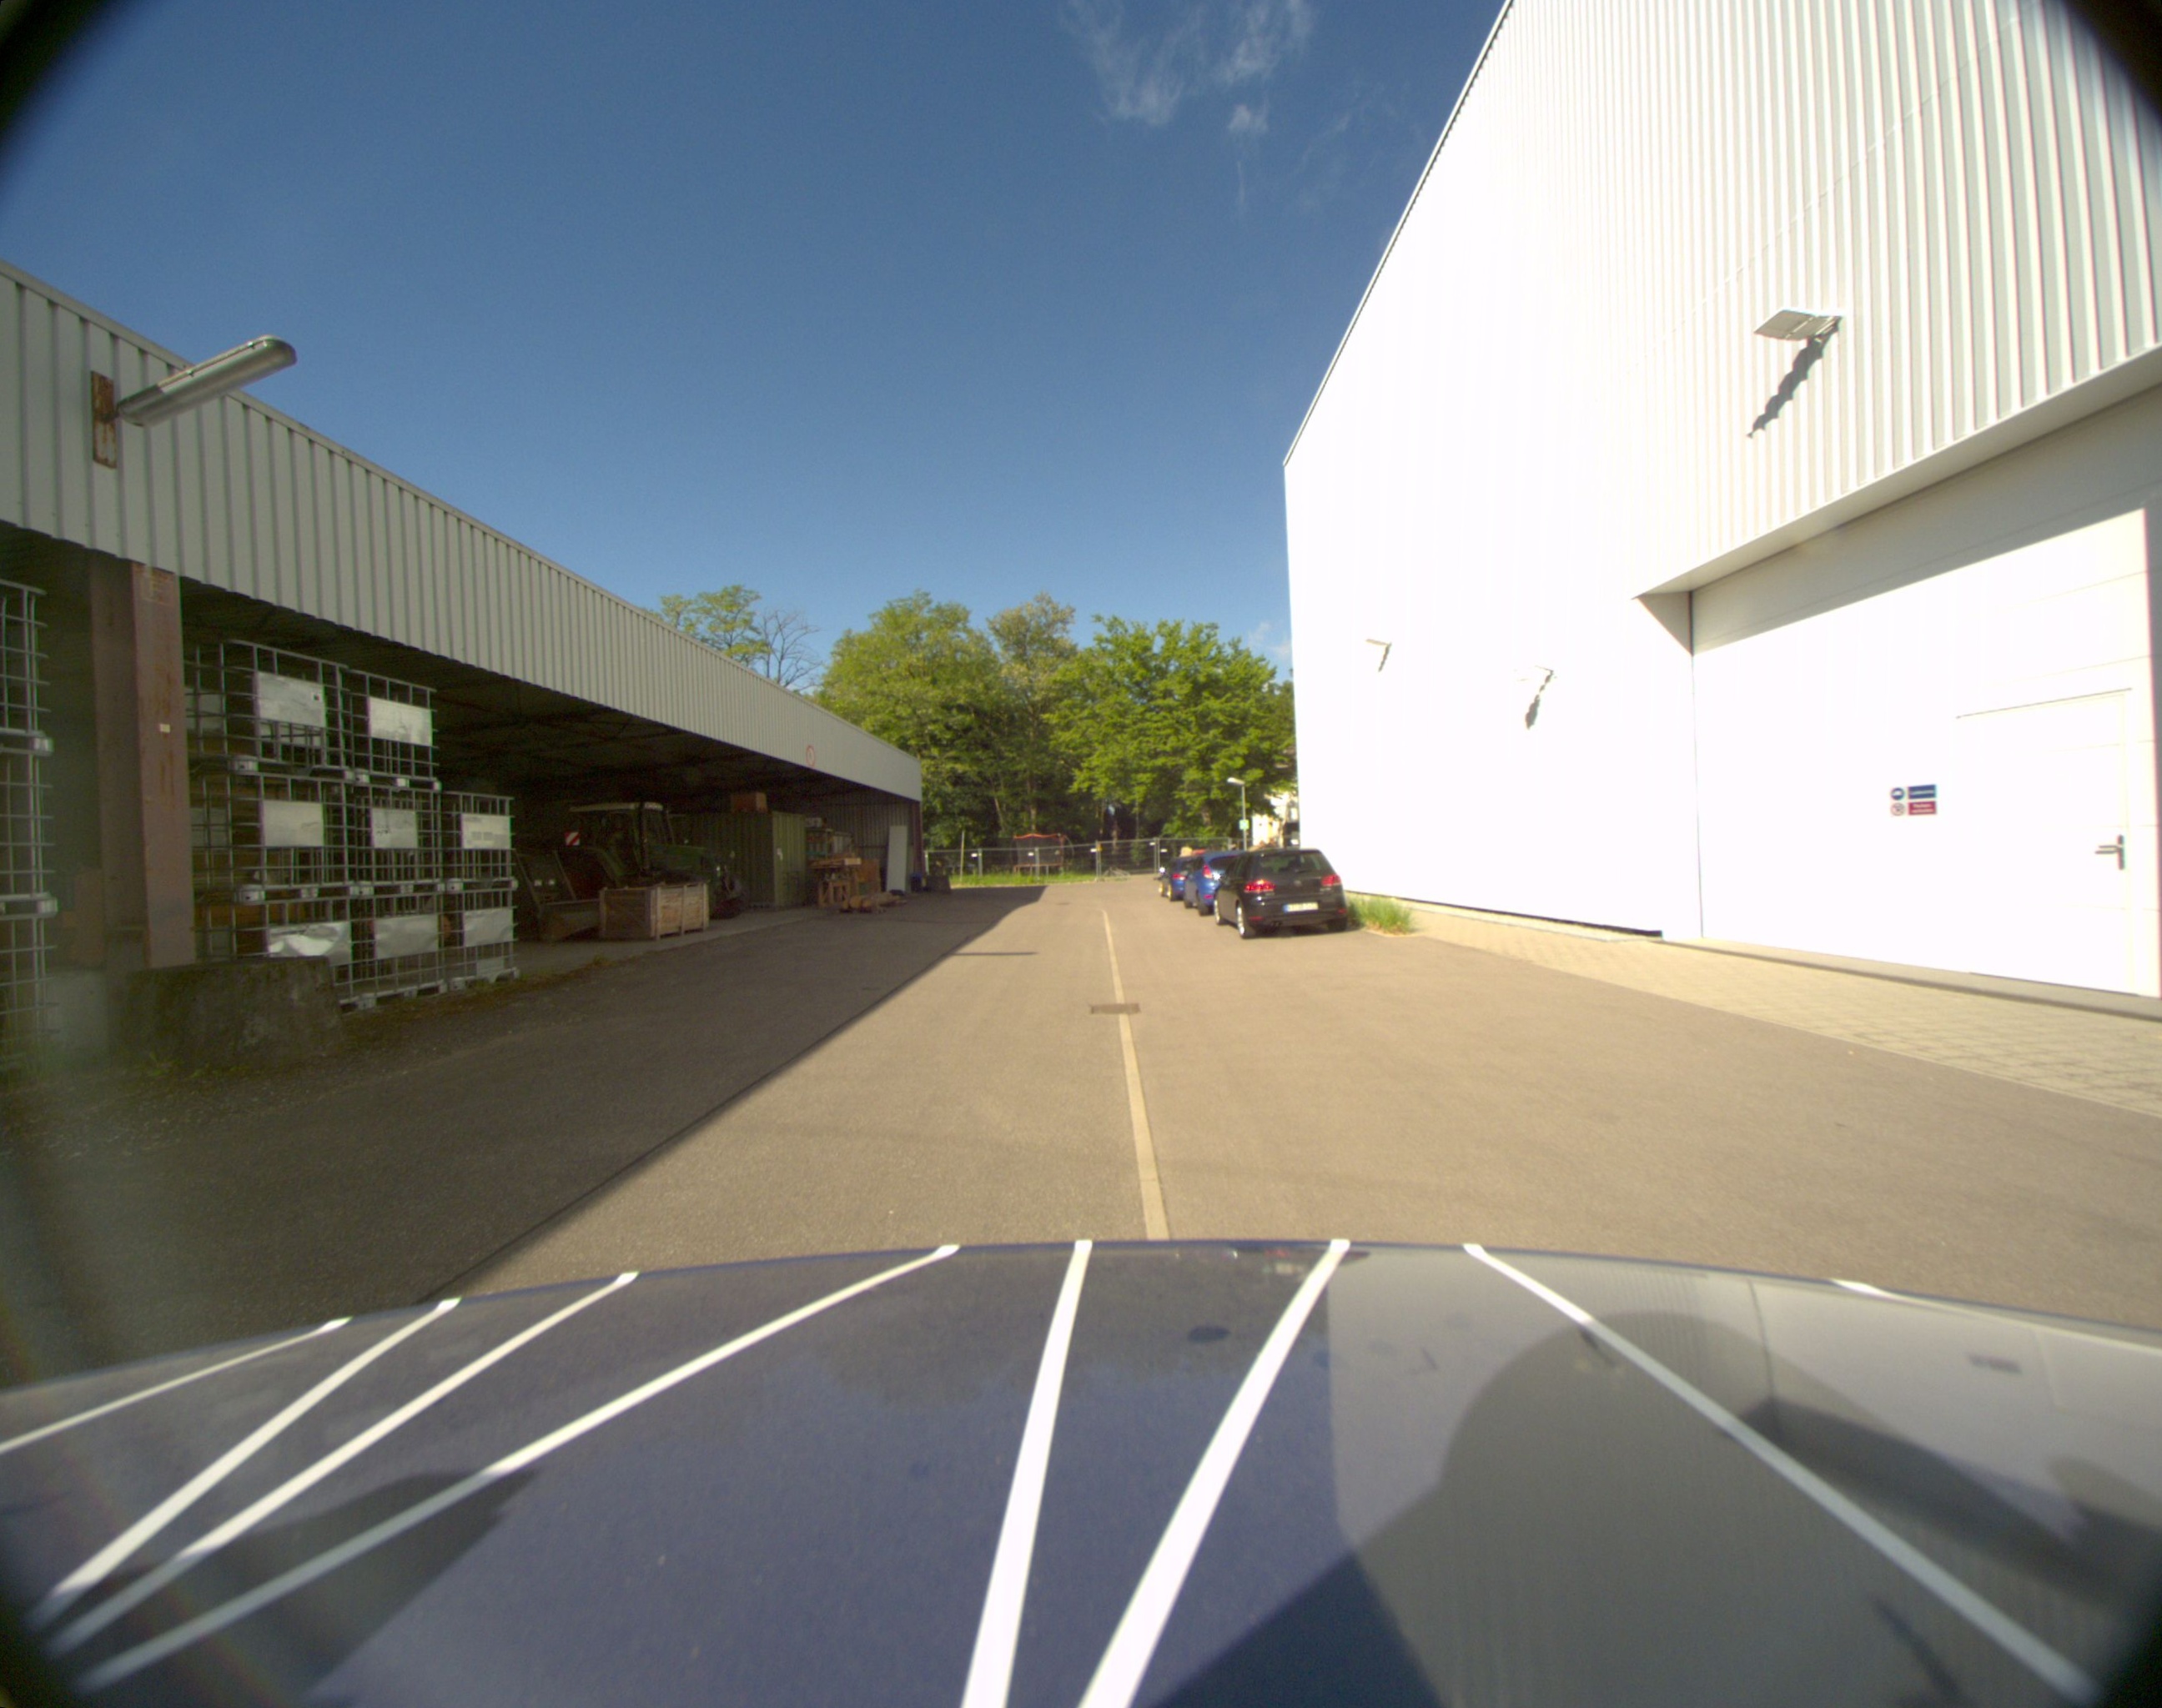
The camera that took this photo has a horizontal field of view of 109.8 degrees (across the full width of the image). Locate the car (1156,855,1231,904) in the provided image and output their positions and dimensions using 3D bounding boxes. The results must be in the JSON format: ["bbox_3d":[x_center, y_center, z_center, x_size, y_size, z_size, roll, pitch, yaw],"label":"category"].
[{"bbox_3d":[3.520,0.758,24.435,1.778,1.353,4.053,-3,0,0],"label":"car"}]

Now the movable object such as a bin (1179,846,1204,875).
[{"bbox_3d":[6.259,0.363,43.087,1.093,1.588,1.230,-3,2,-4],"label":"movable object such as a bin"}]

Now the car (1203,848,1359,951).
[{"bbox_3d":[3.483,0.701,14.064,1.759,1.491,4.294,-4,0,1],"label":"car"}]

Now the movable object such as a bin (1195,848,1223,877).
[{"bbox_3d":[6.724,0.431,39.848,1.093,1.424,1.230,-4,1,-4],"label":"movable object such as a bin"}]

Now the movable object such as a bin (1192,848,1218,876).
[{"bbox_3d":[6.707,0.429,41.183,1.093,1.431,1.230,-4,1,-4],"label":"movable object such as a bin"}]

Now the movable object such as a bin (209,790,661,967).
[{"bbox_3d":[-12.205,0.434,14.854,6.200,2.893,3.016,-2,0,2],"label":"movable object such as a bin"}]

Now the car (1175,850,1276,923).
[{"bbox_3d":[3.468,0.710,18.961,1.635,1.491,4.094,-5,0,0],"label":"car"}]

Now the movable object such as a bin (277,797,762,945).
[{"bbox_3d":[-12.958,0.382,18.172,9.214,2.893,3.212,-2,0,2],"label":"movable object such as a bin"}]
